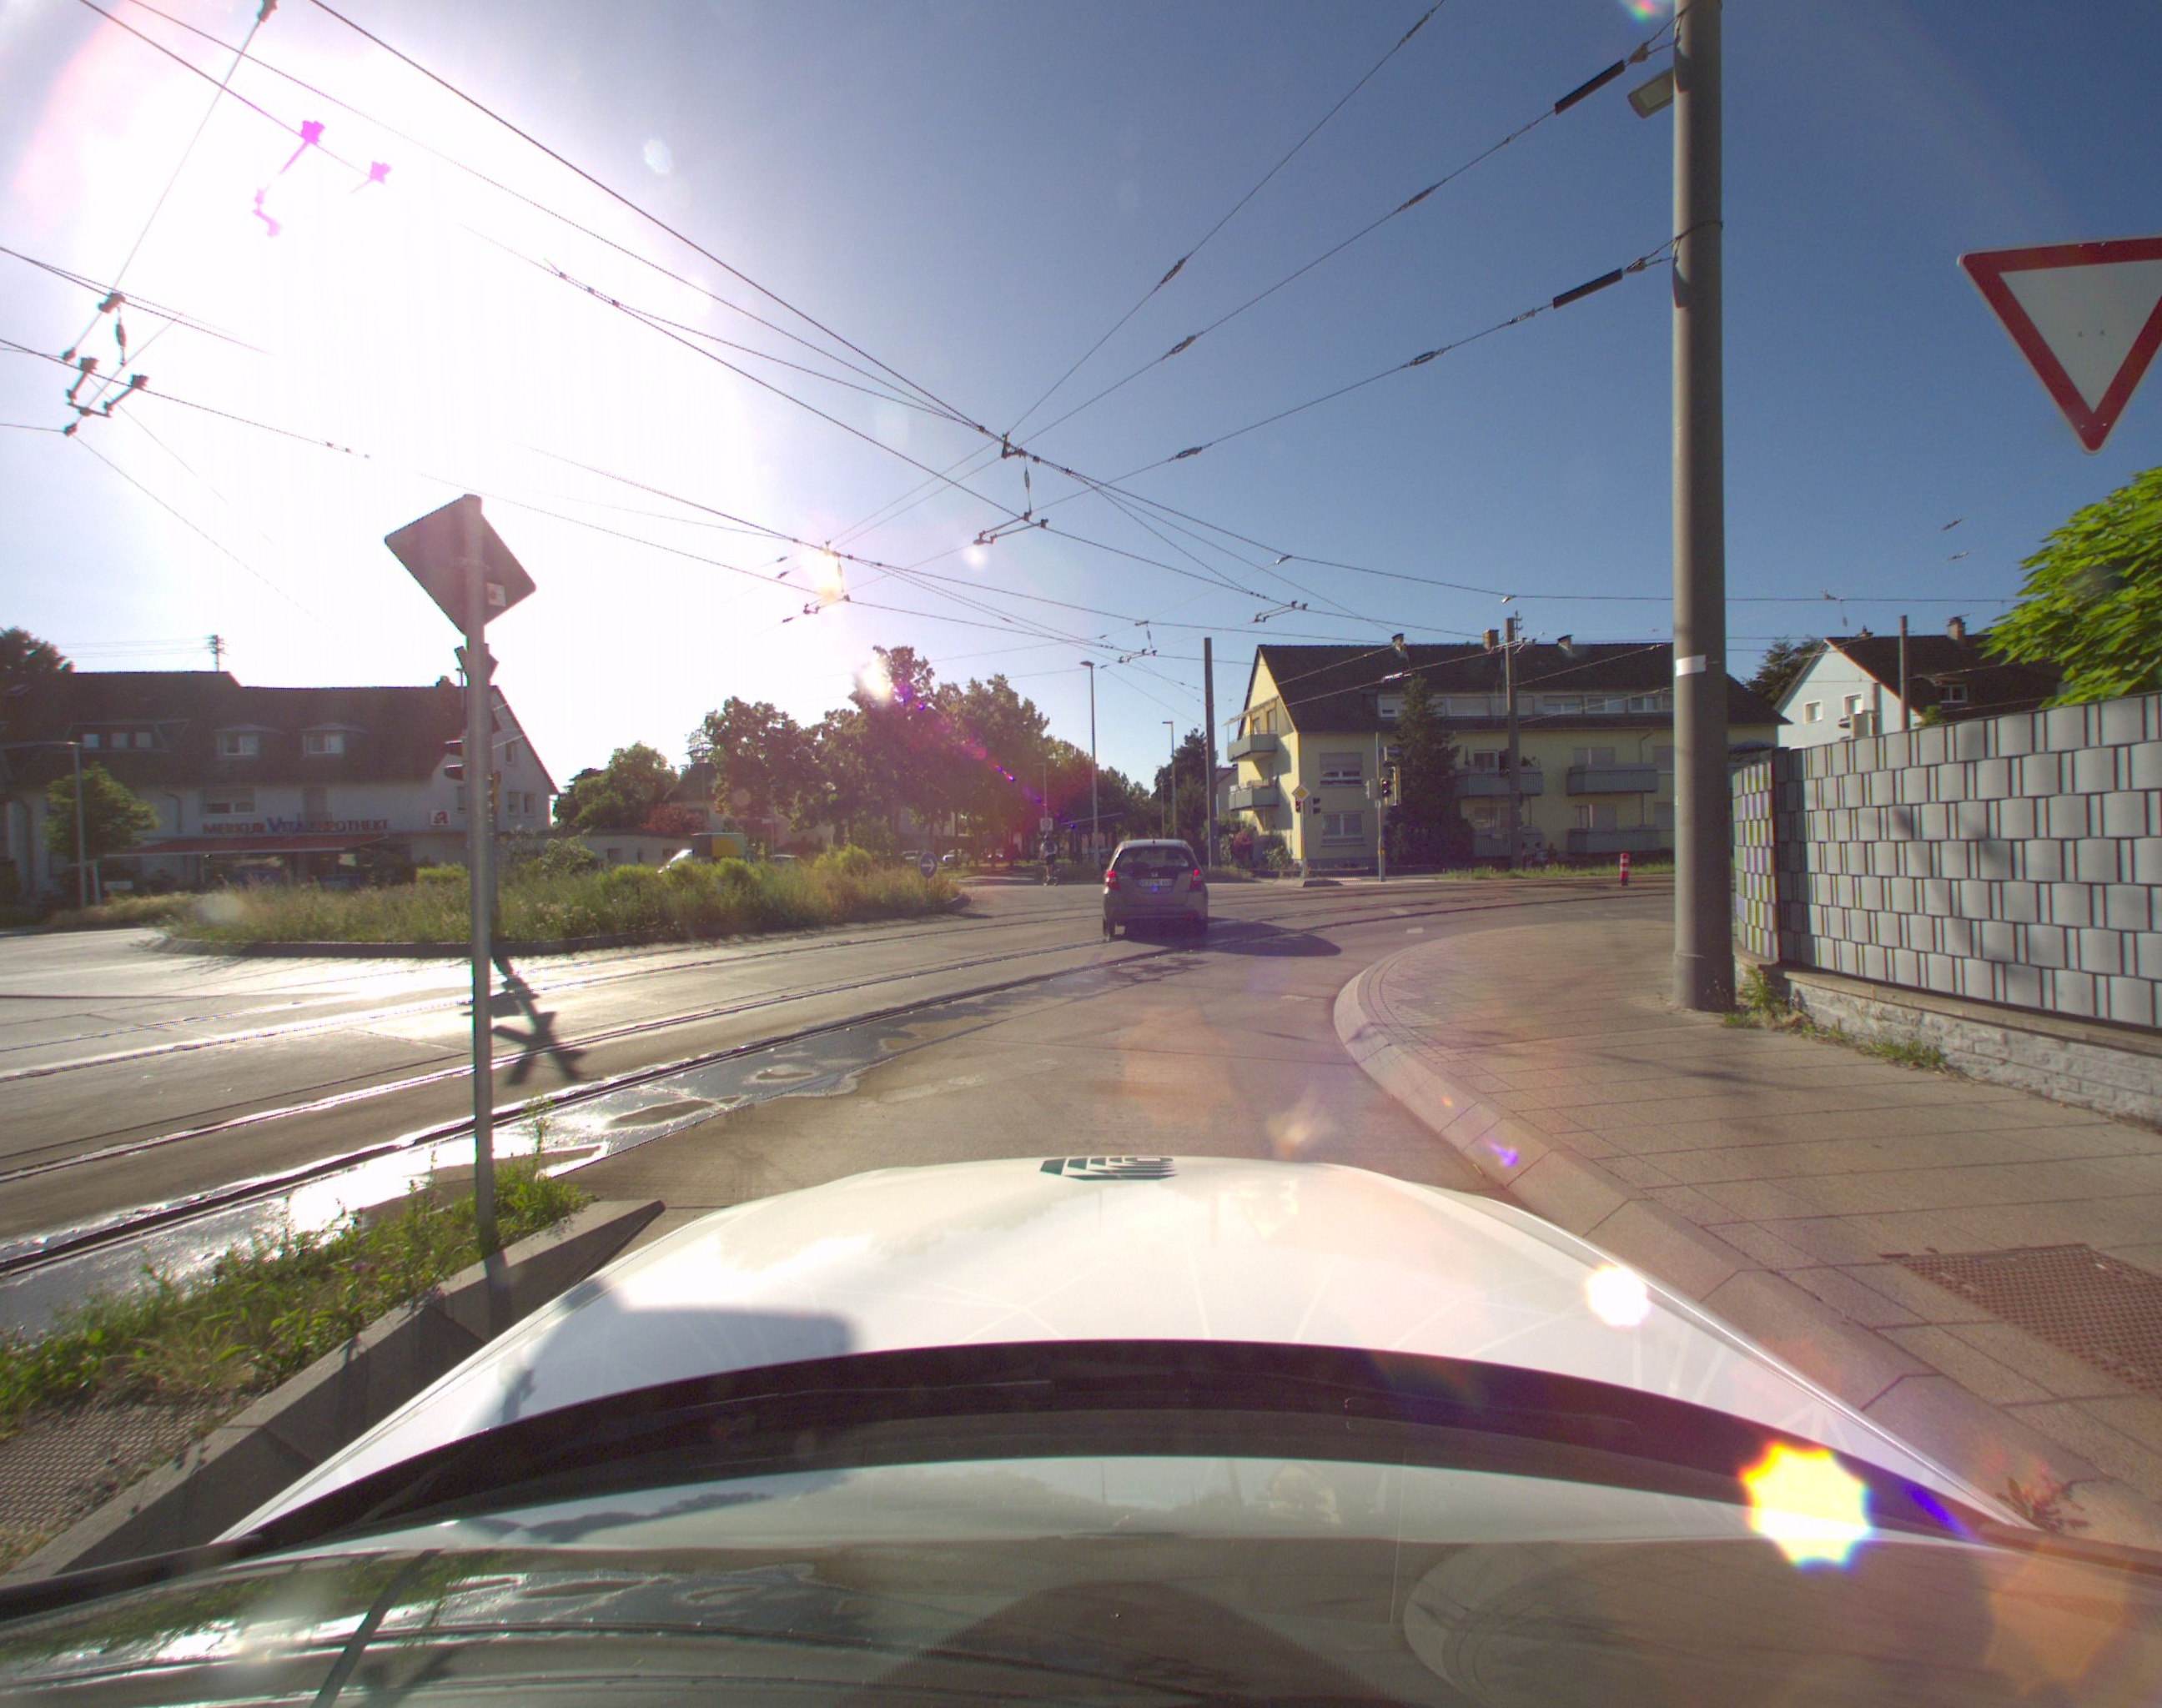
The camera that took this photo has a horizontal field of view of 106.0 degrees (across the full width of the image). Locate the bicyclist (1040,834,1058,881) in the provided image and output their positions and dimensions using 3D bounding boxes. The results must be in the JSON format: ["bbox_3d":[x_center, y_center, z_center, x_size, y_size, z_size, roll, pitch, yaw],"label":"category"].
[{"bbox_3d":[-1.189,0.140,30.702,0.601,1.714,0.544,-2,-4,-1],"label":"bicyclist"}]

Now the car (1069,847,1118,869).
[{"bbox_3d":[0.924,0.274,59.595,3.501,1.533,1.579,0,0,4],"label":"car"}]

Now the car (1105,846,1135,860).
[{"bbox_3d":[4.603,-0.113,96.014,3.393,1.533,1.528,-2,1,7],"label":"car"}]

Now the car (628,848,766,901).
[{"bbox_3d":[-15.868,0.798,34.068,1.977,1.982,5.264,-3,-1,20],"label":"car"}]

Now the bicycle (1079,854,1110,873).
[{"bbox_3d":[0.751,0.525,45.540,1.684,1.027,0.599,0,0,0],"label":"bicycle"}]

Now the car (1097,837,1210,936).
[{"bbox_3d":[1.213,0.465,14.267,1.680,1.491,3.918,-1,1,3],"label":"car"}]

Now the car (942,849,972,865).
[{"bbox_3d":[-13.911,0.288,91.582,1.983,1.772,5.070,0,0,7],"label":"car"}]

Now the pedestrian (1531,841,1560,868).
[{"bbox_3d":[18.585,0.003,32.580,0.629,1.064,0.811,0,0,-36],"label":"pedestrian"}]

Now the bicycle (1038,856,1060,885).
[{"bbox_3d":[-1.197,0.636,30.515,0.764,1.037,1.532,-1,-2,-3],"label":"bicycle"}]

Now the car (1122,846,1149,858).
[{"bbox_3d":[6.800,-0.244,101.677,3.345,1.533,1.524,0,0,3],"label":"car"}]

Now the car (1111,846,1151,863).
[{"bbox_3d":[4.456,0.024,72.128,3.501,1.533,1.579,0,0,4],"label":"car"}]

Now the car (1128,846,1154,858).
[{"bbox_3d":[7.834,-0.233,106.408,3.464,1.493,1.553,0,0,3],"label":"car"}]

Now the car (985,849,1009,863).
[{"bbox_3d":[-9.667,0.212,93.971,1.821,1.580,4.449,0,0,6],"label":"car"}]

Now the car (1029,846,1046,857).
[{"bbox_3d":[-6.875,-0.352,129.749,1.982,1.699,4.228,0,0,8],"label":"car"}]

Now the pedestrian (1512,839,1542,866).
[{"bbox_3d":[17.737,-0.072,32.409,0.685,1.046,0.818,-1,0,-6],"label":"pedestrian"}]

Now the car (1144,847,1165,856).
[{"bbox_3d":[12.311,-0.422,136.257,3.502,1.533,1.579,0,0,3],"label":"car"}]

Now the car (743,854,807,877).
[{"bbox_3d":[-22.810,0.838,60.779,4.019,1.694,2.003,0,0,4],"label":"car"}]

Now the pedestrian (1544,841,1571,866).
[{"bbox_3d":[19.182,-0.010,32.773,0.596,1.005,0.718,0,0,-27],"label":"pedestrian"}]

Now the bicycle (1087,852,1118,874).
[{"bbox_3d":[1.171,0.486,44.253,1.660,1.208,0.689,0,0,0],"label":"bicycle"}]

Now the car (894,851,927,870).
[{"bbox_3d":[-15.695,0.575,75.087,1.985,1.699,4.222,0,0,3],"label":"car"}]

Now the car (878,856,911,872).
[{"bbox_3d":[-16.059,0.816,70.284,1.955,1.324,3.999,0,0,-1],"label":"car"}]

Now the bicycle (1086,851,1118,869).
[{"bbox_3d":[1.222,0.353,47.050,1.835,1.027,0.689,0,0,0],"label":"bicycle"}]

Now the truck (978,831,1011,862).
[{"bbox_3d":[-11.515,-1.066,109.170,3.056,3.992,8.016,0,1,3],"label":"truck"}]

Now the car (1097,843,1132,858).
[{"bbox_3d":[3.459,-0.368,83.422,3.501,1.533,1.579,0,0,4],"label":"car"}]

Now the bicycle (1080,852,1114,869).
[{"bbox_3d":[0.934,0.377,47.955,1.967,1.027,0.696,0,0,0],"label":"bicycle"}]

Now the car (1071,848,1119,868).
[{"bbox_3d":[1.048,0.293,61.359,3.501,1.533,1.579,0,0,4],"label":"car"}]

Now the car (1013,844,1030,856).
[{"bbox_3d":[-8.770,-0.565,120.902,1.985,1.699,4.222,0,0,3],"label":"car"}]

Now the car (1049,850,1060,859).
[{"bbox_3d":[-4.680,0.104,142.355,1.640,1.648,3.572,0,0,3],"label":"car"}]
